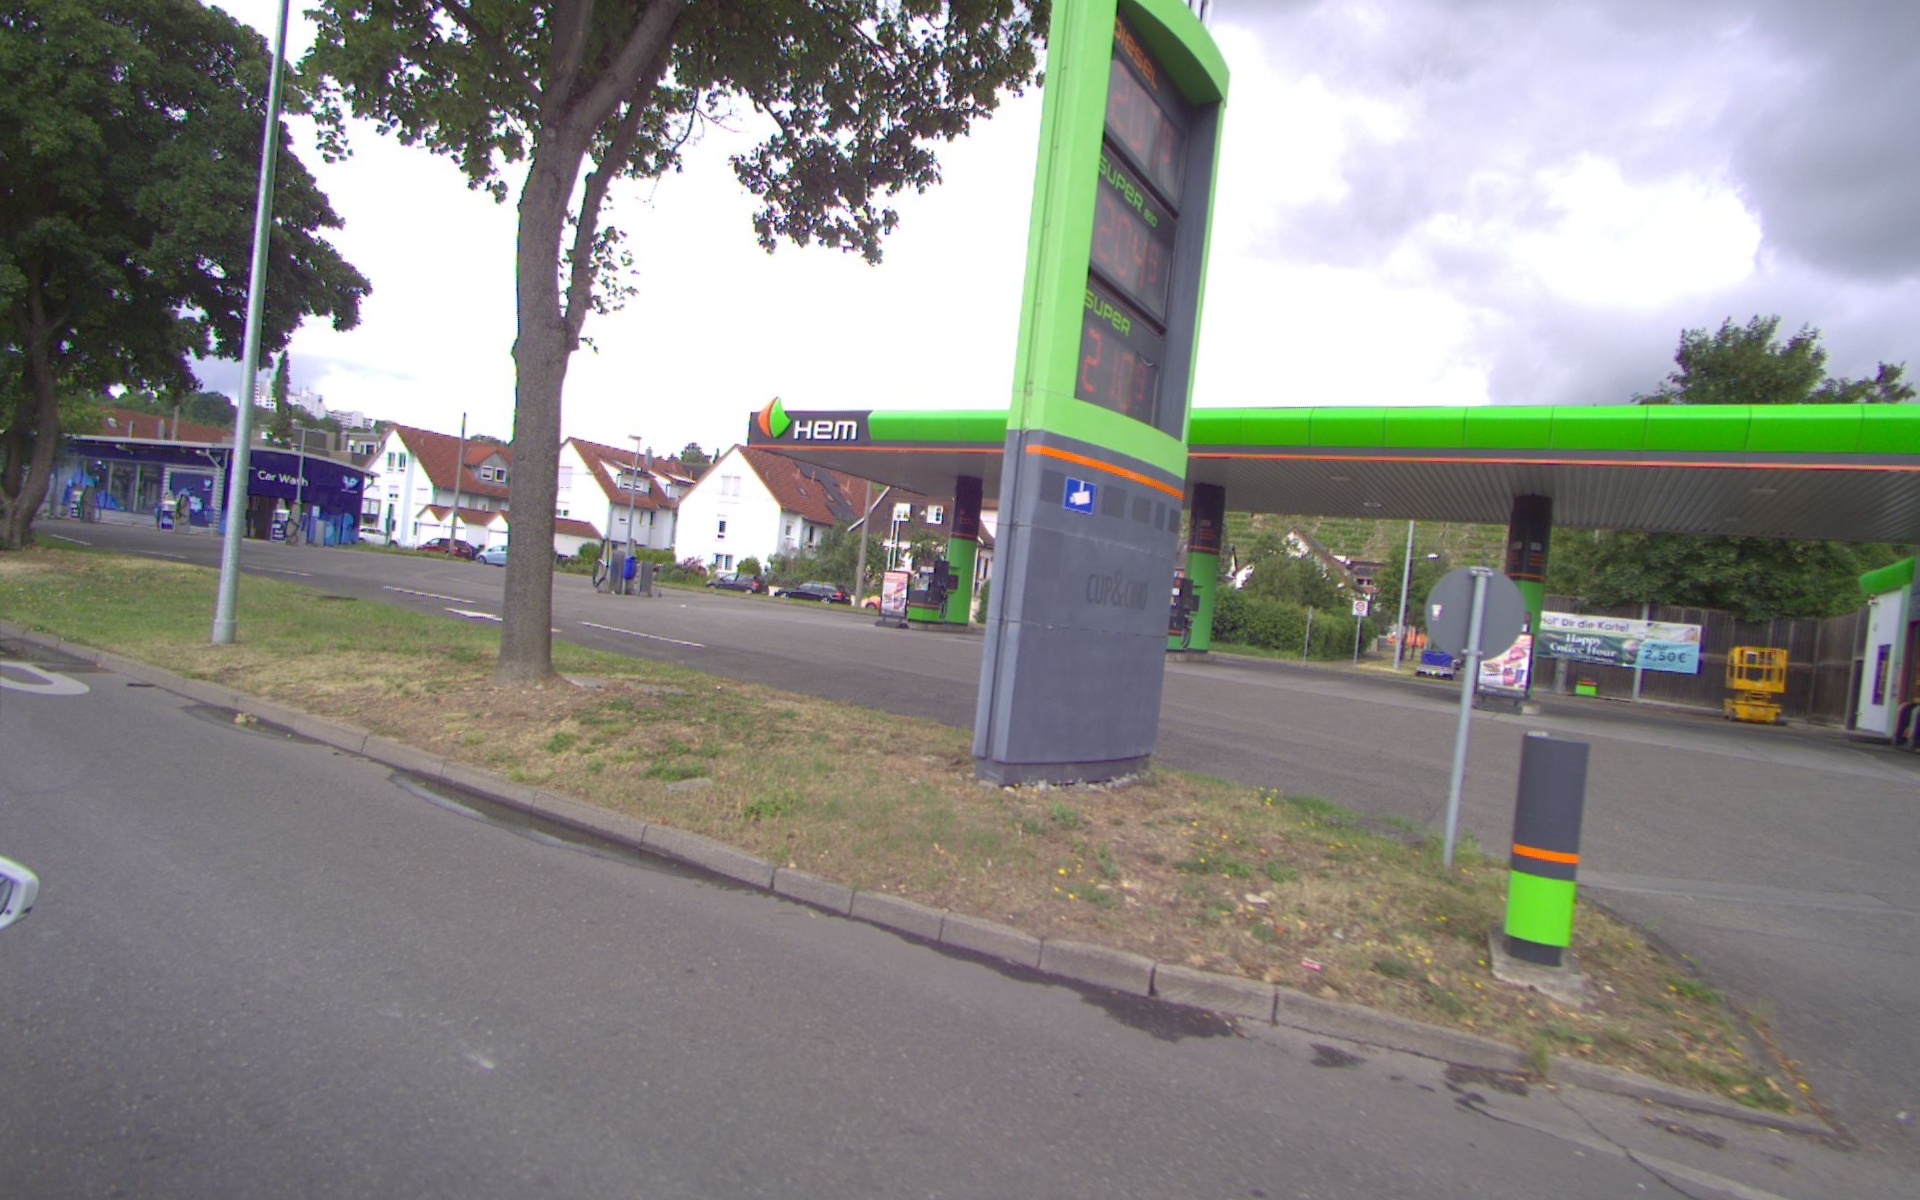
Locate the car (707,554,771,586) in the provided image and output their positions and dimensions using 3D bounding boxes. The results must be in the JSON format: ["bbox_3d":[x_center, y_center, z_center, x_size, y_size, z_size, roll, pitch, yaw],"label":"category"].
[{"bbox_3d":[-14.739,-2.014,67.035,3.934,1.705,1.691,7,1,32],"label":"car"}]

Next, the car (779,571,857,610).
[{"bbox_3d":[-8.237,-0.551,58.326,3.925,1.709,1.762,7,-1,19],"label":"car"}]

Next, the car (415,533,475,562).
[{"bbox_3d":[-34.548,-3.528,67.466,3.354,1.411,1.587,7,-1,19],"label":"car"}]

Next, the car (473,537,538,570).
[{"bbox_3d":[-29.694,-3.053,65.689,3.667,1.618,1.539,7,-1,19],"label":"car"}]

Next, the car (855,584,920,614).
[{"bbox_3d":[-4.111,-0.055,57.032,3.273,1.279,1.421,7,-1,19],"label":"car"}]

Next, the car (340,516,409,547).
[{"bbox_3d":[-45.959,-5.349,79.075,1.747,1.704,4.225,7,-2,29],"label":"car"}]
